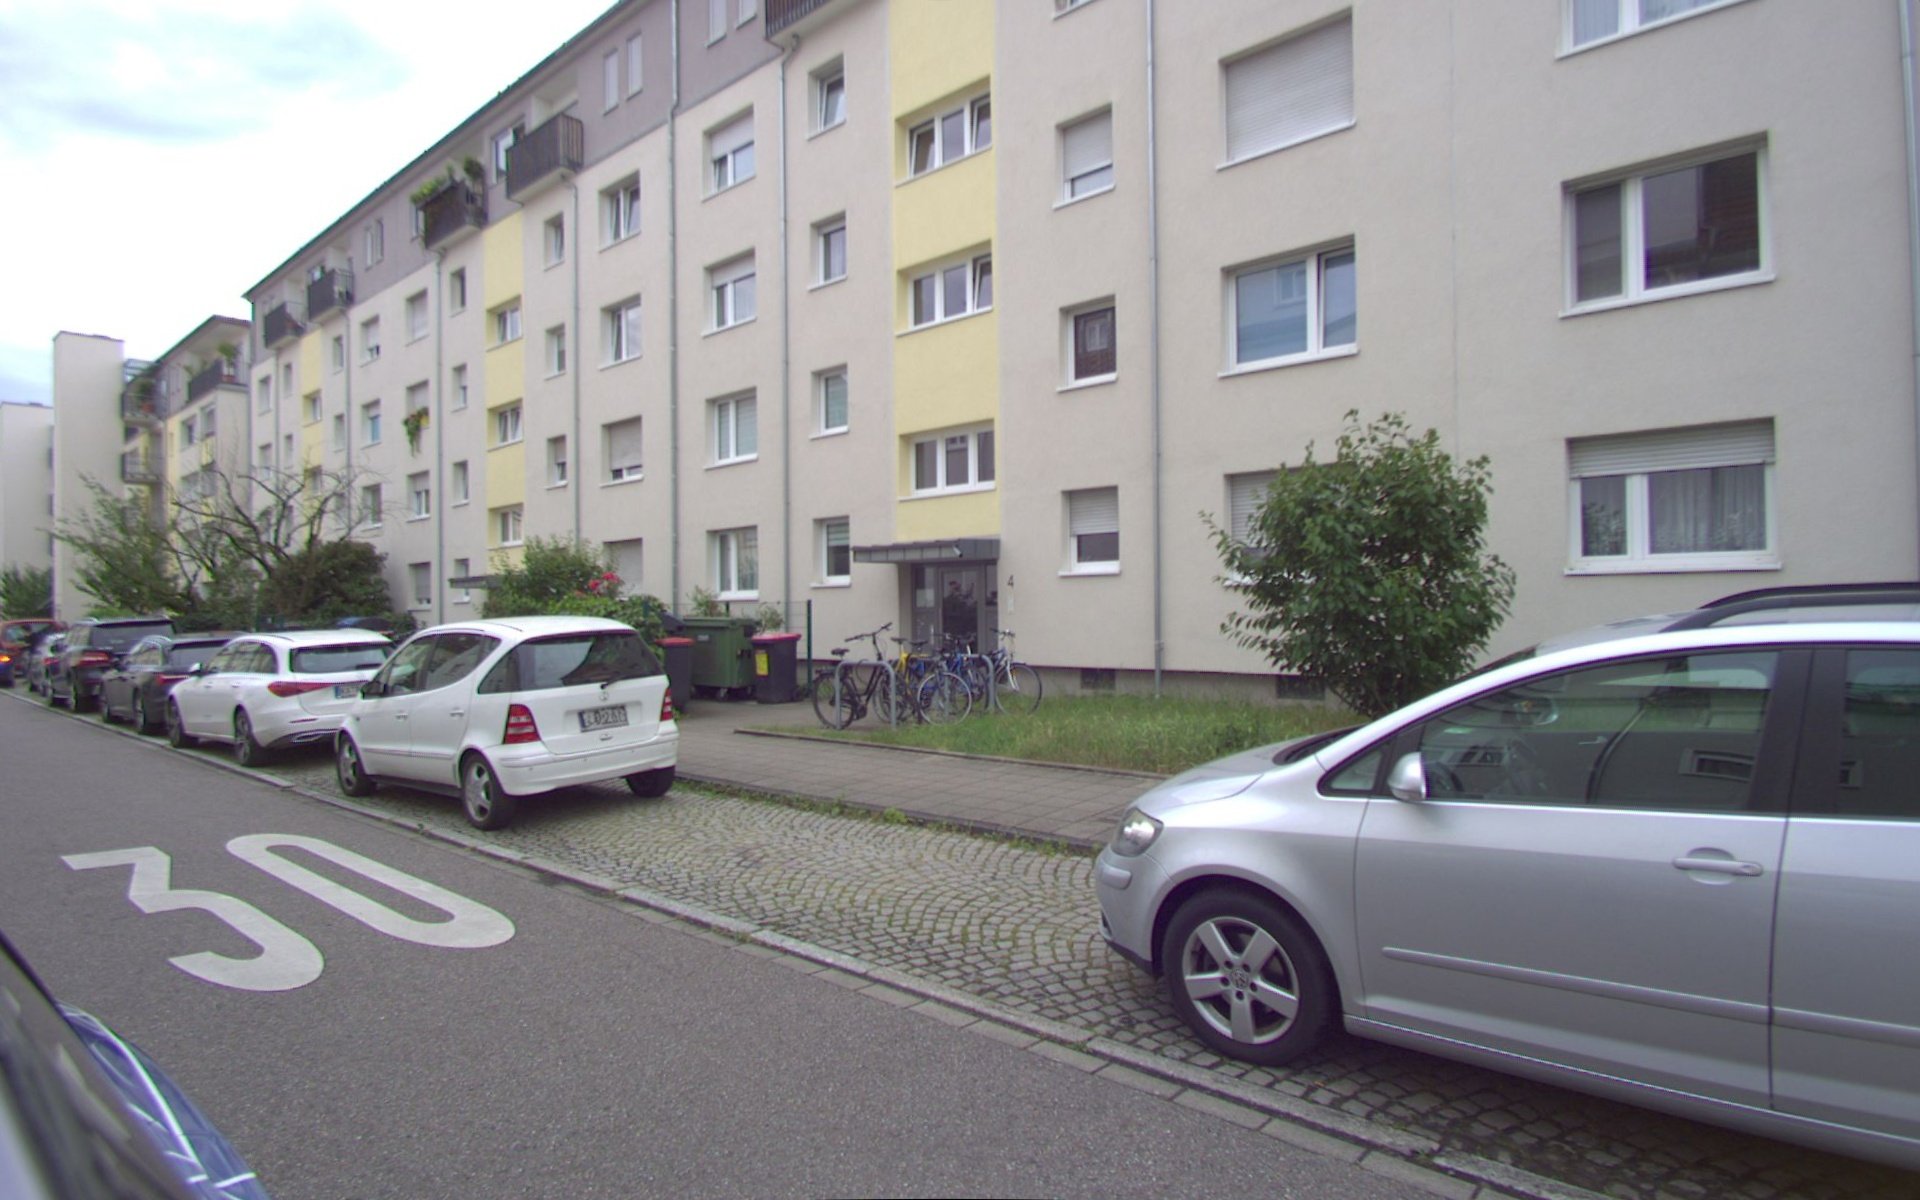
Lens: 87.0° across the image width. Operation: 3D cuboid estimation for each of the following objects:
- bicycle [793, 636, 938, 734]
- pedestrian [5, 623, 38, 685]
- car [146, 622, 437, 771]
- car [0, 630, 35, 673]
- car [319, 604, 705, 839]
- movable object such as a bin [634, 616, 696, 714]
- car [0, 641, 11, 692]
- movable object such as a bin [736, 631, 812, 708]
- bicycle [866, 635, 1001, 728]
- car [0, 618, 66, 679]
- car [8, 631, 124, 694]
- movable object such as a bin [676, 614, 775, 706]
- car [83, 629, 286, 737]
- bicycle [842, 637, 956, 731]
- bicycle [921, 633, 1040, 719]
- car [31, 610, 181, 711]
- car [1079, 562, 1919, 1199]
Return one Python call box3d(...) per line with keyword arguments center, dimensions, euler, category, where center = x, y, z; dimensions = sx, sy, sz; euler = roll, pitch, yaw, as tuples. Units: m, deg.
box3d(center=(-1.117, 0.940, 11.579), dimensions=(1.877, 1.032, 0.483), euler=(-2, -2, 41), category="bicycle")
box3d(center=(-26.242, 1.505, 28.300), dimensions=(0.621, 1.679, 0.596), euler=(-2, -2, 38), category="pedestrian")
box3d(center=(-8.485, 1.098, 12.660), dimensions=(4.681, 1.521, 1.701), euler=(-3, -2, 39), category="car")
box3d(center=(-34.314, 1.831, 35.908), dimensions=(3.538, 1.455, 1.686), euler=(-3, -2, 39), category="car")
box3d(center=(-4.089, 0.909, 8.984), dimensions=(3.724, 1.651, 1.668), euler=(-2, -2, 40), category="car")
box3d(center=(-4.314, 0.936, 14.826), dimensions=(0.587, 1.378, 0.651), euler=(0, 0, 37), category="movable object such as a bin")
box3d(center=(-26.723, 1.791, 27.041), dimensions=(3.907, 1.325, 1.658), euler=(-2, -1, 42), category="car")
box3d(center=(-2.873, 1.050, 15.653), dimensions=(0.786, 1.117, 0.861), euler=(0, 0, 37), category="movable object such as a bin")
box3d(center=(-0.349, 0.949, 12.188), dimensions=(1.753, 1.032, 0.473), euler=(-2, -2, 41), category="bicycle")
box3d(center=(-29.648, 1.516, 31.859), dimensions=(3.538, 1.820, 1.686), euler=(-3, -2, 39), category="car")
box3d(center=(-21.863, 1.504, 24.724), dimensions=(3.538, 1.408, 1.556), euler=(-3, -2, 39), category="car")
box3d(center=(-3.765, 0.925, 16.257), dimensions=(1.187, 1.385, 1.047), euler=(0, 0, 36), category="movable object such as a bin")
box3d(center=(-12.388, 1.208, 16.063), dimensions=(4.480, 1.464, 1.707), euler=(-2, -1, 41), category="car")
box3d(center=(-0.731, 0.956, 11.870), dimensions=(1.496, 1.032, 0.352), euler=(-2, -2, 41), category="bicycle")
box3d(center=(0.239, 0.941, 12.837), dimensions=(1.557, 1.032, 0.416), euler=(-2, -2, 38), category="bicycle")
box3d(center=(-16.870, 1.151, 19.921), dimensions=(4.448, 1.793, 1.555), euler=(-3, -2, 40), category="car")
box3d(center=(2.499, 0.702, 3.318), dimensions=(3.912, 1.562, 1.637), euler=(-2, -1, 40), category="car")
